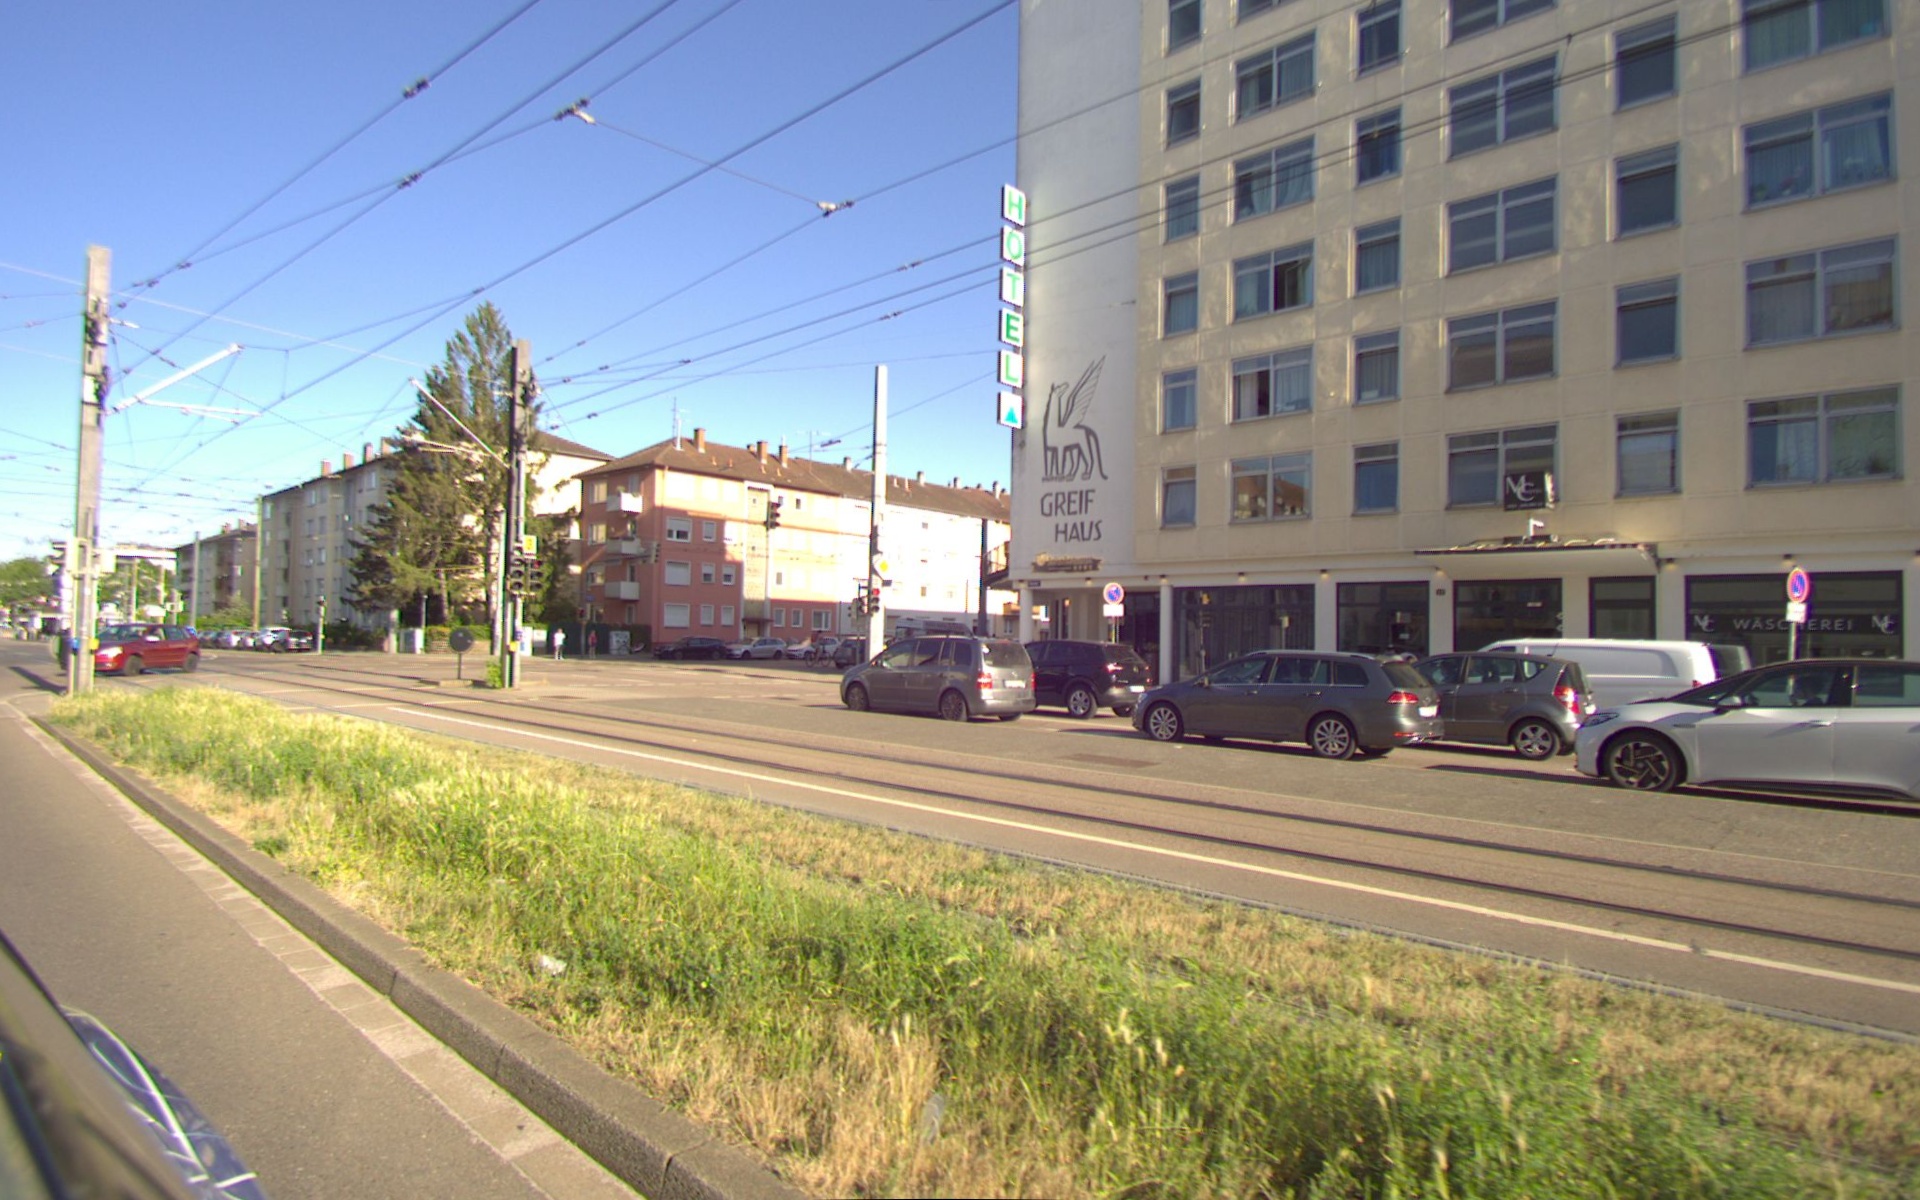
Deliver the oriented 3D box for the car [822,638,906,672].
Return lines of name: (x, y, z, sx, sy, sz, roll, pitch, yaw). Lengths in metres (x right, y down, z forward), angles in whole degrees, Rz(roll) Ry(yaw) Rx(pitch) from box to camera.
car: (-4.424, 2.544, 46.928, 1.661, 1.442, 3.839, 2, -1, 38)

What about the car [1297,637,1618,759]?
car: (7.969, 1.468, 16.439, 4.322, 1.587, 1.961, 0, -2, 42)

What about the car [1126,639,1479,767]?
car: (4.816, 1.363, 14.708, 1.797, 1.502, 4.544, 3, -3, -45)

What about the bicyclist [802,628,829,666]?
bicyclist: (-6.769, 2.192, 47.374, 0.920, 1.704, 0.815, 3, -1, -41)

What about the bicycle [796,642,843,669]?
bicycle: (-6.611, 2.603, 47.534, 2.032, 1.190, 0.815, 3, -1, -41)

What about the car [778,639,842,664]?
car: (-10.094, 3.485, 68.307, 1.746, 1.537, 4.172, 2, -1, 41)

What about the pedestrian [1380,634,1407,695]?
pedestrian: (10.272, 1.520, 24.007, 0.525, 1.386, 0.680, 2, -1, 22)

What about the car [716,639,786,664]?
car: (-13.324, 3.315, 64.701, 1.910, 1.447, 4.045, 2, -1, 42)

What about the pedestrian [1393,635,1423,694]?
pedestrian: (10.946, 1.560, 24.731, 0.600, 1.386, 0.495, 2, -1, 29)

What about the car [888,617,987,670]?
car: (-1.070, 2.164, 50.579, 2.270, 2.500, 4.942, 1, -2, 39)

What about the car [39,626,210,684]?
car: (-23.261, 1.506, 28.383, 1.758, 1.497, 3.831, 1, -2, -4)

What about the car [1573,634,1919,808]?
car: (8.962, 1.184, 10.460, 4.242, 1.526, 1.819, 0, -2, 42)

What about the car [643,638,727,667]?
car: (-16.564, 3.179, 61.043, 2.159, 1.442, 4.382, 2, -3, 39)

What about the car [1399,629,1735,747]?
car: (11.641, 1.562, 19.728, 5.327, 1.883, 1.921, -1, 0, 43)

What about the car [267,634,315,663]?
car: (-43.858, 3.145, 66.308, 1.844, 1.640, 4.076, 3, -1, -45)

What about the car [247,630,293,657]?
car: (-47.686, 2.996, 69.929, 4.033, 1.610, 1.748, 2, -1, 43)

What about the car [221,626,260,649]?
car: (-55.457, 2.858, 77.955, 3.789, 1.569, 1.638, 2, -1, 43)

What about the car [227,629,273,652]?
car: (-51.713, 2.953, 73.719, 4.032, 1.489, 1.809, 2, -1, 41)

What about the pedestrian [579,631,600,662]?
pedestrian: (-20.795, 2.604, 56.798, 0.777, 1.734, 0.701, 2, -1, 14)

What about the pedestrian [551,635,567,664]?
pedestrian: (-21.794, 2.681, 54.976, 0.518, 1.580, 0.565, 2, -1, 41)

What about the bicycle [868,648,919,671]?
bicycle: (-2.934, 2.600, 44.553, 2.256, 1.009, 0.845, -2, -4, 40)

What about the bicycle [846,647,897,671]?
bicycle: (-3.806, 2.536, 43.500, 2.256, 1.009, 0.845, -2, -4, 40)

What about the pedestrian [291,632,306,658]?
pedestrian: (-48.109, 3.265, 73.553, 0.689, 1.900, 0.781, 3, -1, -44)

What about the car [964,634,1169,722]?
car: (2.189, 1.575, 21.478, 4.045, 1.587, 1.770, 0, -2, 42)

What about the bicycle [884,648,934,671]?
bicycle: (-2.311, 2.657, 45.477, 2.256, 1.009, 0.845, -2, -4, 40)

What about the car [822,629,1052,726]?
car: (-0.545, 1.417, 19.651, 1.908, 1.560, 4.456, 3, -2, -45)
